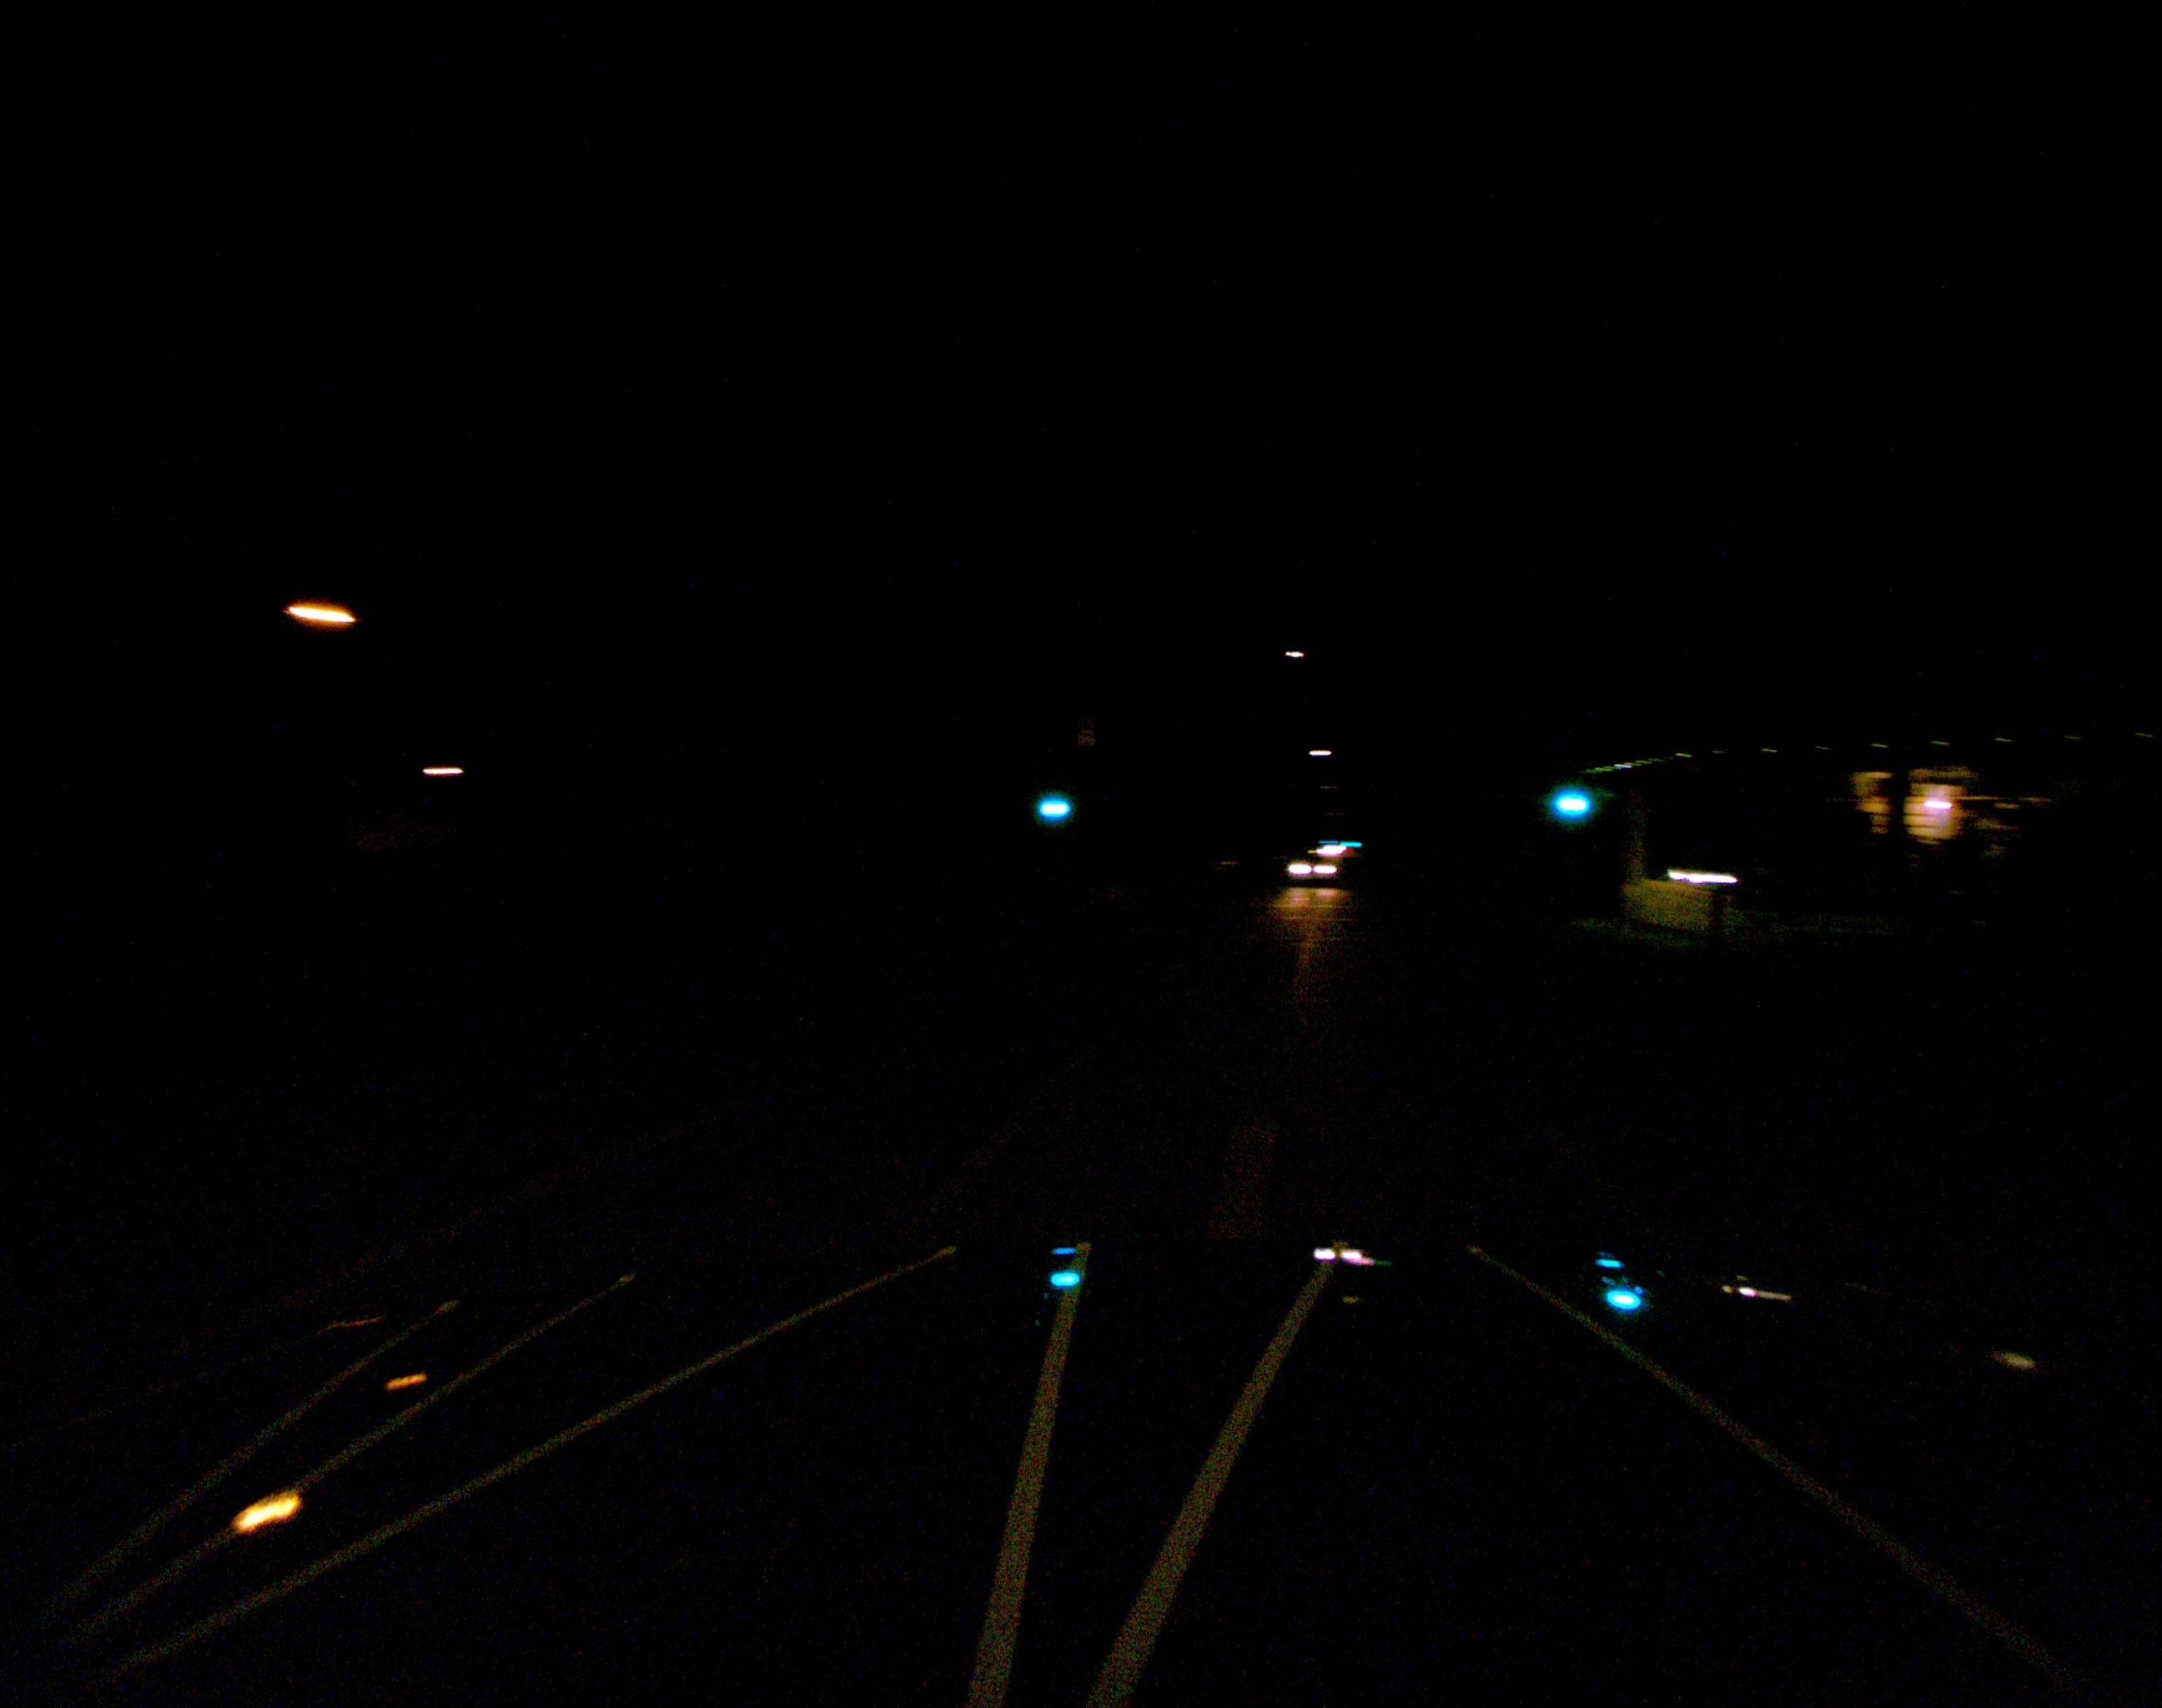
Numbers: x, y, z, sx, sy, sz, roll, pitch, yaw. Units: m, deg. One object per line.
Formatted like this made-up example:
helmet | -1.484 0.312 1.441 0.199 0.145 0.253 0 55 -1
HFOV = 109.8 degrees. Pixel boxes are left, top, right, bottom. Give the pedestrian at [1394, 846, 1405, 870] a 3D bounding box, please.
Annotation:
pedestrian | 21.558 0.247 51.383 0.648 1.632 0.749 0 1 21

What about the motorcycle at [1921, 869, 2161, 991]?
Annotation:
motorcycle | 11.142 0.807 8.646 0.619 1.222 2.036 -2 1 -26

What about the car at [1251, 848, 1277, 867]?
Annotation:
car | 14.408 0.223 59.794 1.533 1.407 3.413 2 1 20

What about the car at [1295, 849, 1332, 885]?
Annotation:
car | 10.561 0.547 34.561 1.511 1.493 3.053 -2 1 17

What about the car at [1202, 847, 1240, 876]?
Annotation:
car | 7.817 0.374 42.128 1.624 1.485 3.412 2 1 17

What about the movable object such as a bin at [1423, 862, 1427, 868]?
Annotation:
movable object such as a bin | 23.310 0.764 51.524 0.231 0.404 0.467 0 1 21

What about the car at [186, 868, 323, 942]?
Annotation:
car | -19.007 1.070 17.470 4.065 1.380 1.883 -1 3 41

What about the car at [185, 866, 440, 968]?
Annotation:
car | -14.182 1.050 14.009 4.244 1.547 2.057 -1 1 27

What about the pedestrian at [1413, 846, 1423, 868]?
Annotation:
pedestrian | 22.854 0.198 51.549 0.560 1.521 0.590 0 1 19

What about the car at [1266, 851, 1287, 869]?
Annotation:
car | 18.698 0.529 72.568 1.533 1.583 3.561 2 1 20
